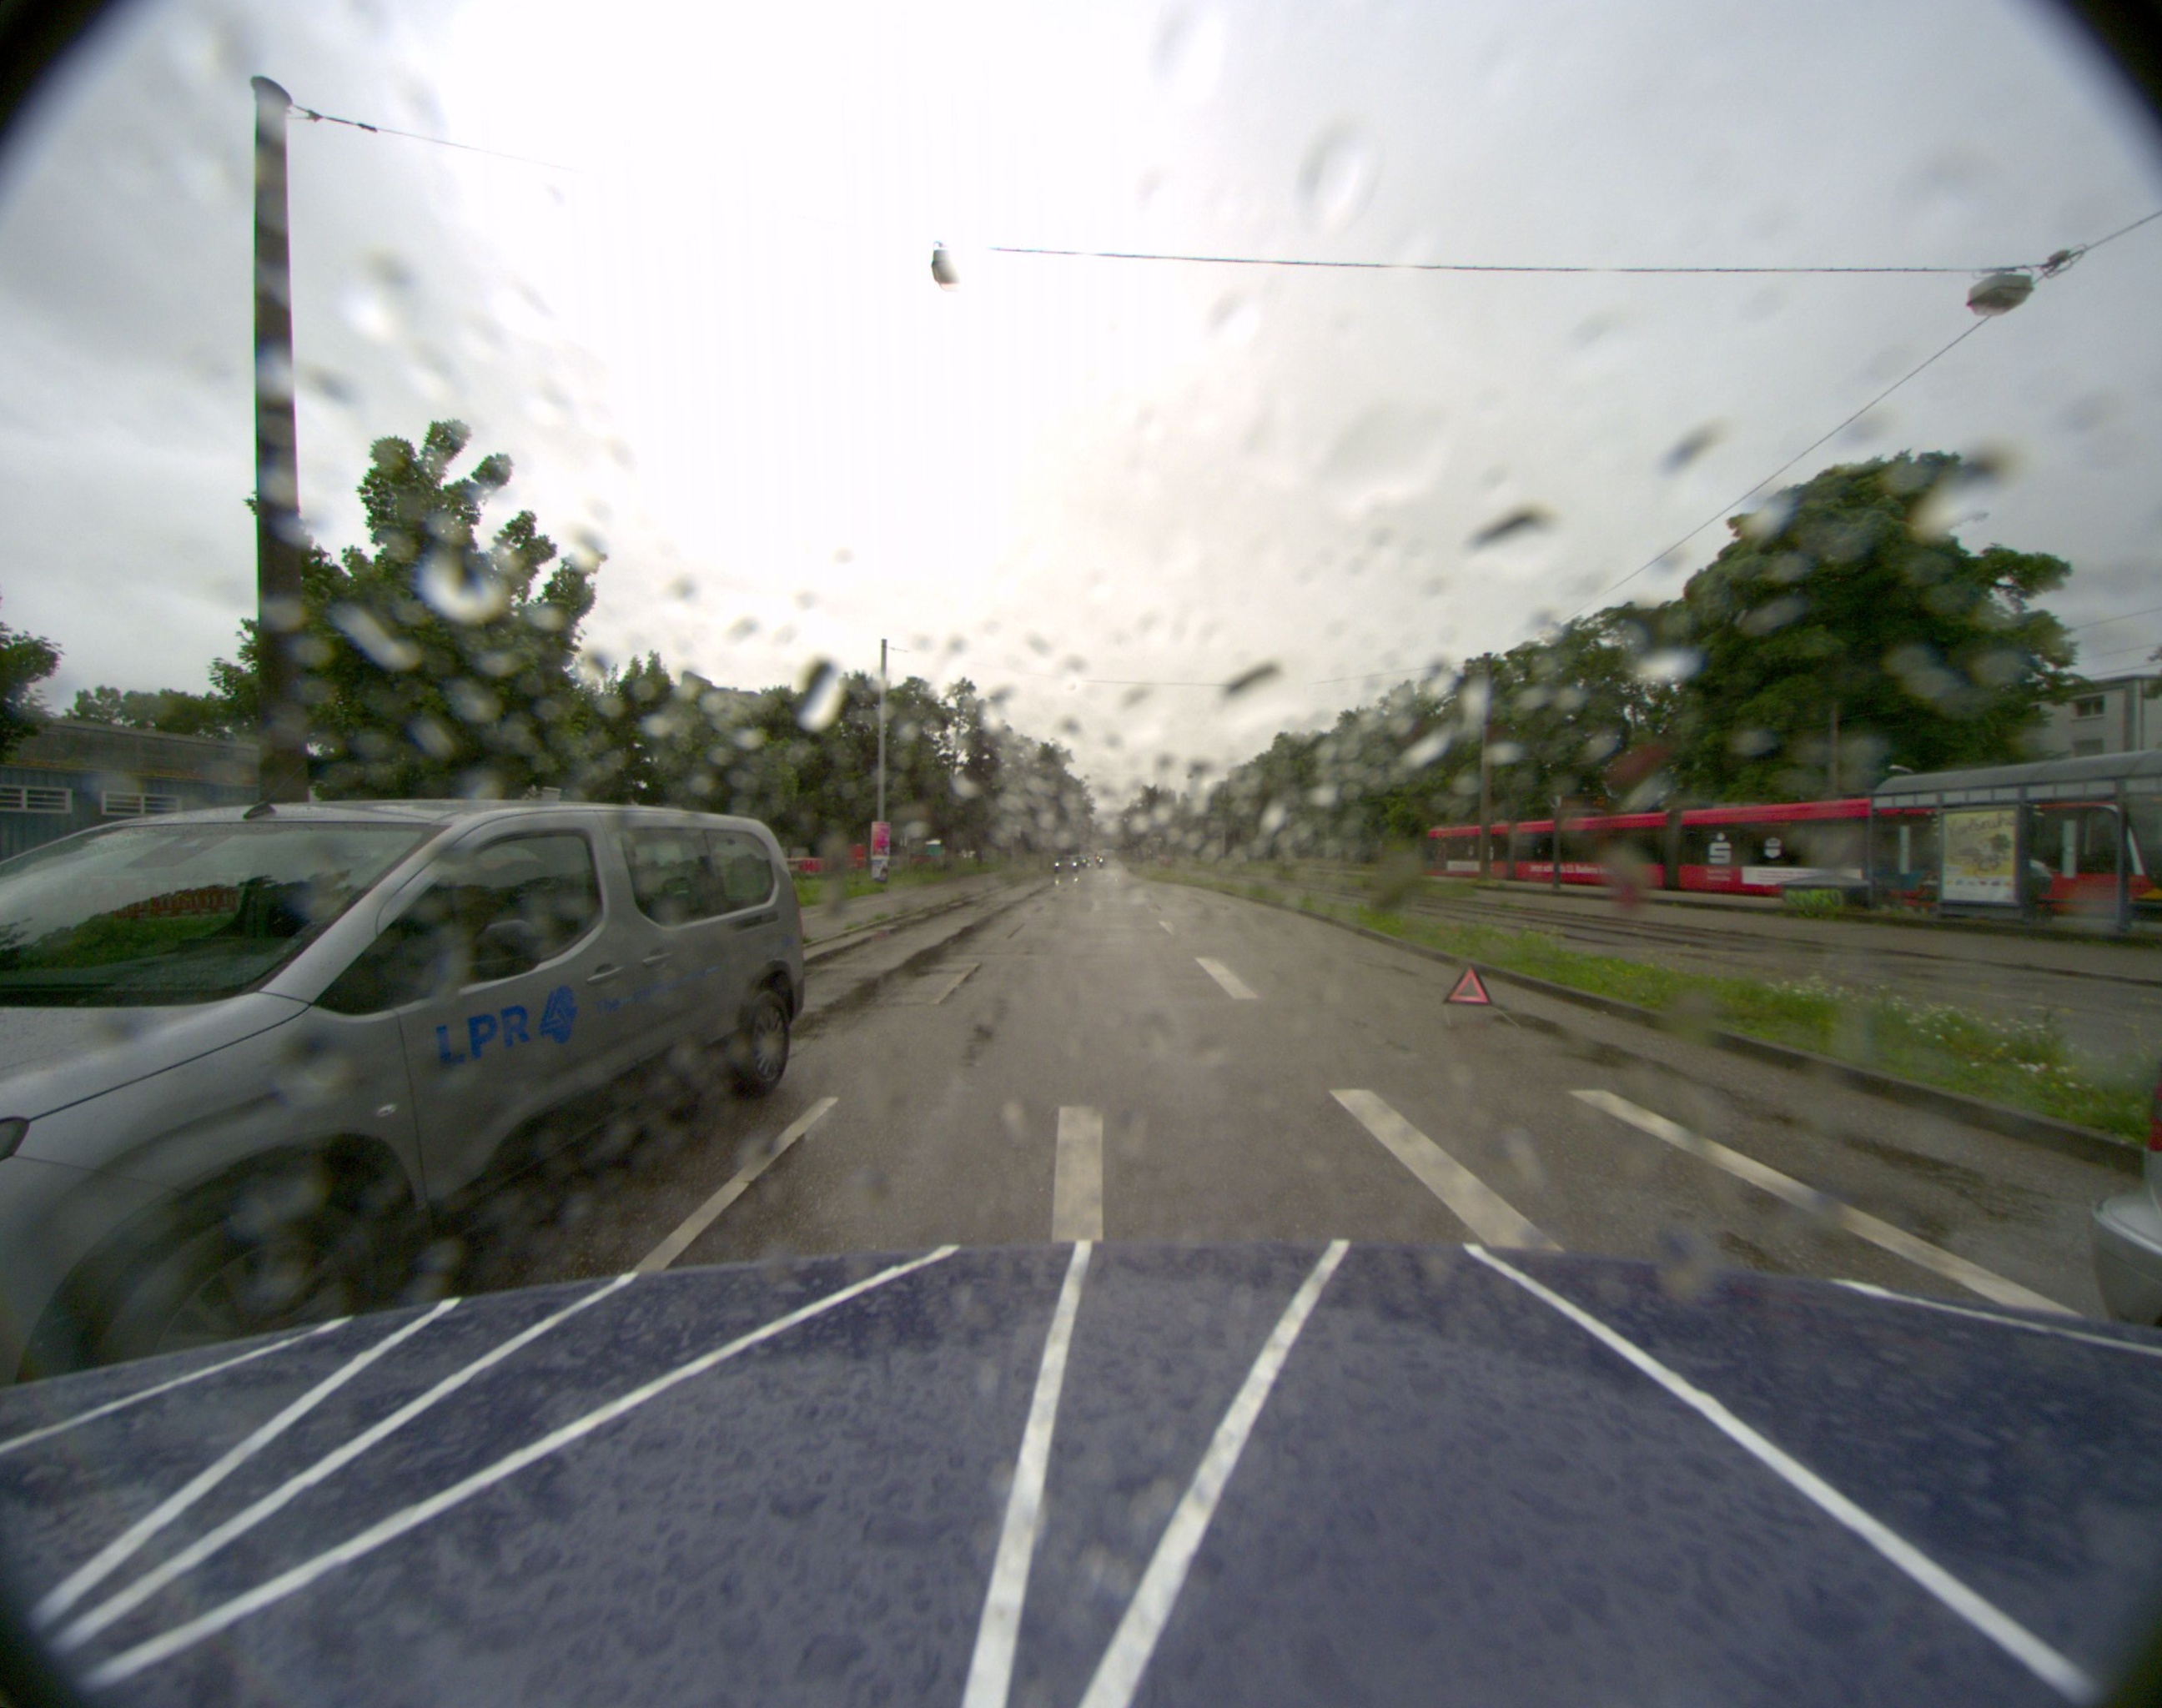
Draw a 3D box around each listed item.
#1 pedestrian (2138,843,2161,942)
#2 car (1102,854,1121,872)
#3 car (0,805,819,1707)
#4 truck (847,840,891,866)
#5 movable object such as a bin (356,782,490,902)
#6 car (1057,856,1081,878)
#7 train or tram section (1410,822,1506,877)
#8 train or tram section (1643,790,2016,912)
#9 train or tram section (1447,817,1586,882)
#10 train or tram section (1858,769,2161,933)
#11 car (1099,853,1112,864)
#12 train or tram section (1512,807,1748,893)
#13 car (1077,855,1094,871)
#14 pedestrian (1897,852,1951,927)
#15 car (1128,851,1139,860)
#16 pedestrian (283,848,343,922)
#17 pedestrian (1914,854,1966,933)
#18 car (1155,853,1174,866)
[{"bbox_3d":[17.725,0.621,11.968,0.806,1.588,0.929,0,1,4],"label":"pedestrian"},{"bbox_3d":[3.072,0.942,78.160,1.812,1.683,3.776,-2,1,1],"label":"car"},{"bbox_3d":[-2.995,0.802,3.367,1.998,1.785,4.561,-1,1,1],"label":"car"},{"bbox_3d":[-25.719,-0.151,92.513,2.811,2.882,8.748,-2,1,0],"label":"truck"},{"bbox_3d":[-25.946,-0.487,30.157,1.557,4.401,3.909,-2,1,2],"label":"movable object such as a bin"},{"bbox_3d":[-0.934,1.017,62.270,1.858,1.583,3.999,-2,1,0],"label":"car"},{"bbox_3d":[24.631,-0.286,49.982,3.541,3.398,5.769,0,1,1],"label":"train or tram section"},{"bbox_3d":[24.089,-0.124,25.633,3.541,3.370,9.278,0,0,1],"label":"train or tram section"},{"bbox_3d":[24.488,-0.249,43.391,3.541,3.392,7.902,0,0,1],"label":"train or tram section"},{"bbox_3d":[23.905,-0.068,17.047,3.541,3.370,9.278,0,0,1],"label":"train or tram section"},{"bbox_3d":[3.802,0.663,119.384,1.898,1.602,3.999,-2,1,1],"label":"car"},{"bbox_3d":[24.294,-0.193,34.747,3.541,3.381,10.261,0,0,1],"label":"train or tram section"},{"bbox_3d":[0.478,0.959,82.625,1.652,1.652,3.776,-2,1,-2],"label":"car"},{"bbox_3d":[17.912,0.743,16.151,0.522,1.553,0.602,-1,1,15],"label":"pedestrian"},{"bbox_3d":[8.825,0.217,128.081,1.741,1.429,3.820,-1,1,2],"label":"car"},{"bbox_3d":[-20.216,0.799,20.023,0.580,1.885,0.876,-2,1,0],"label":"pedestrian"},{"bbox_3d":[17.562,0.795,15.536,0.444,1.553,0.602,-1,1,15],"label":"pedestrian"},{"bbox_3d":[10.006,0.654,91.354,1.685,1.353,4.250,2,0,-1],"label":"car"}]
